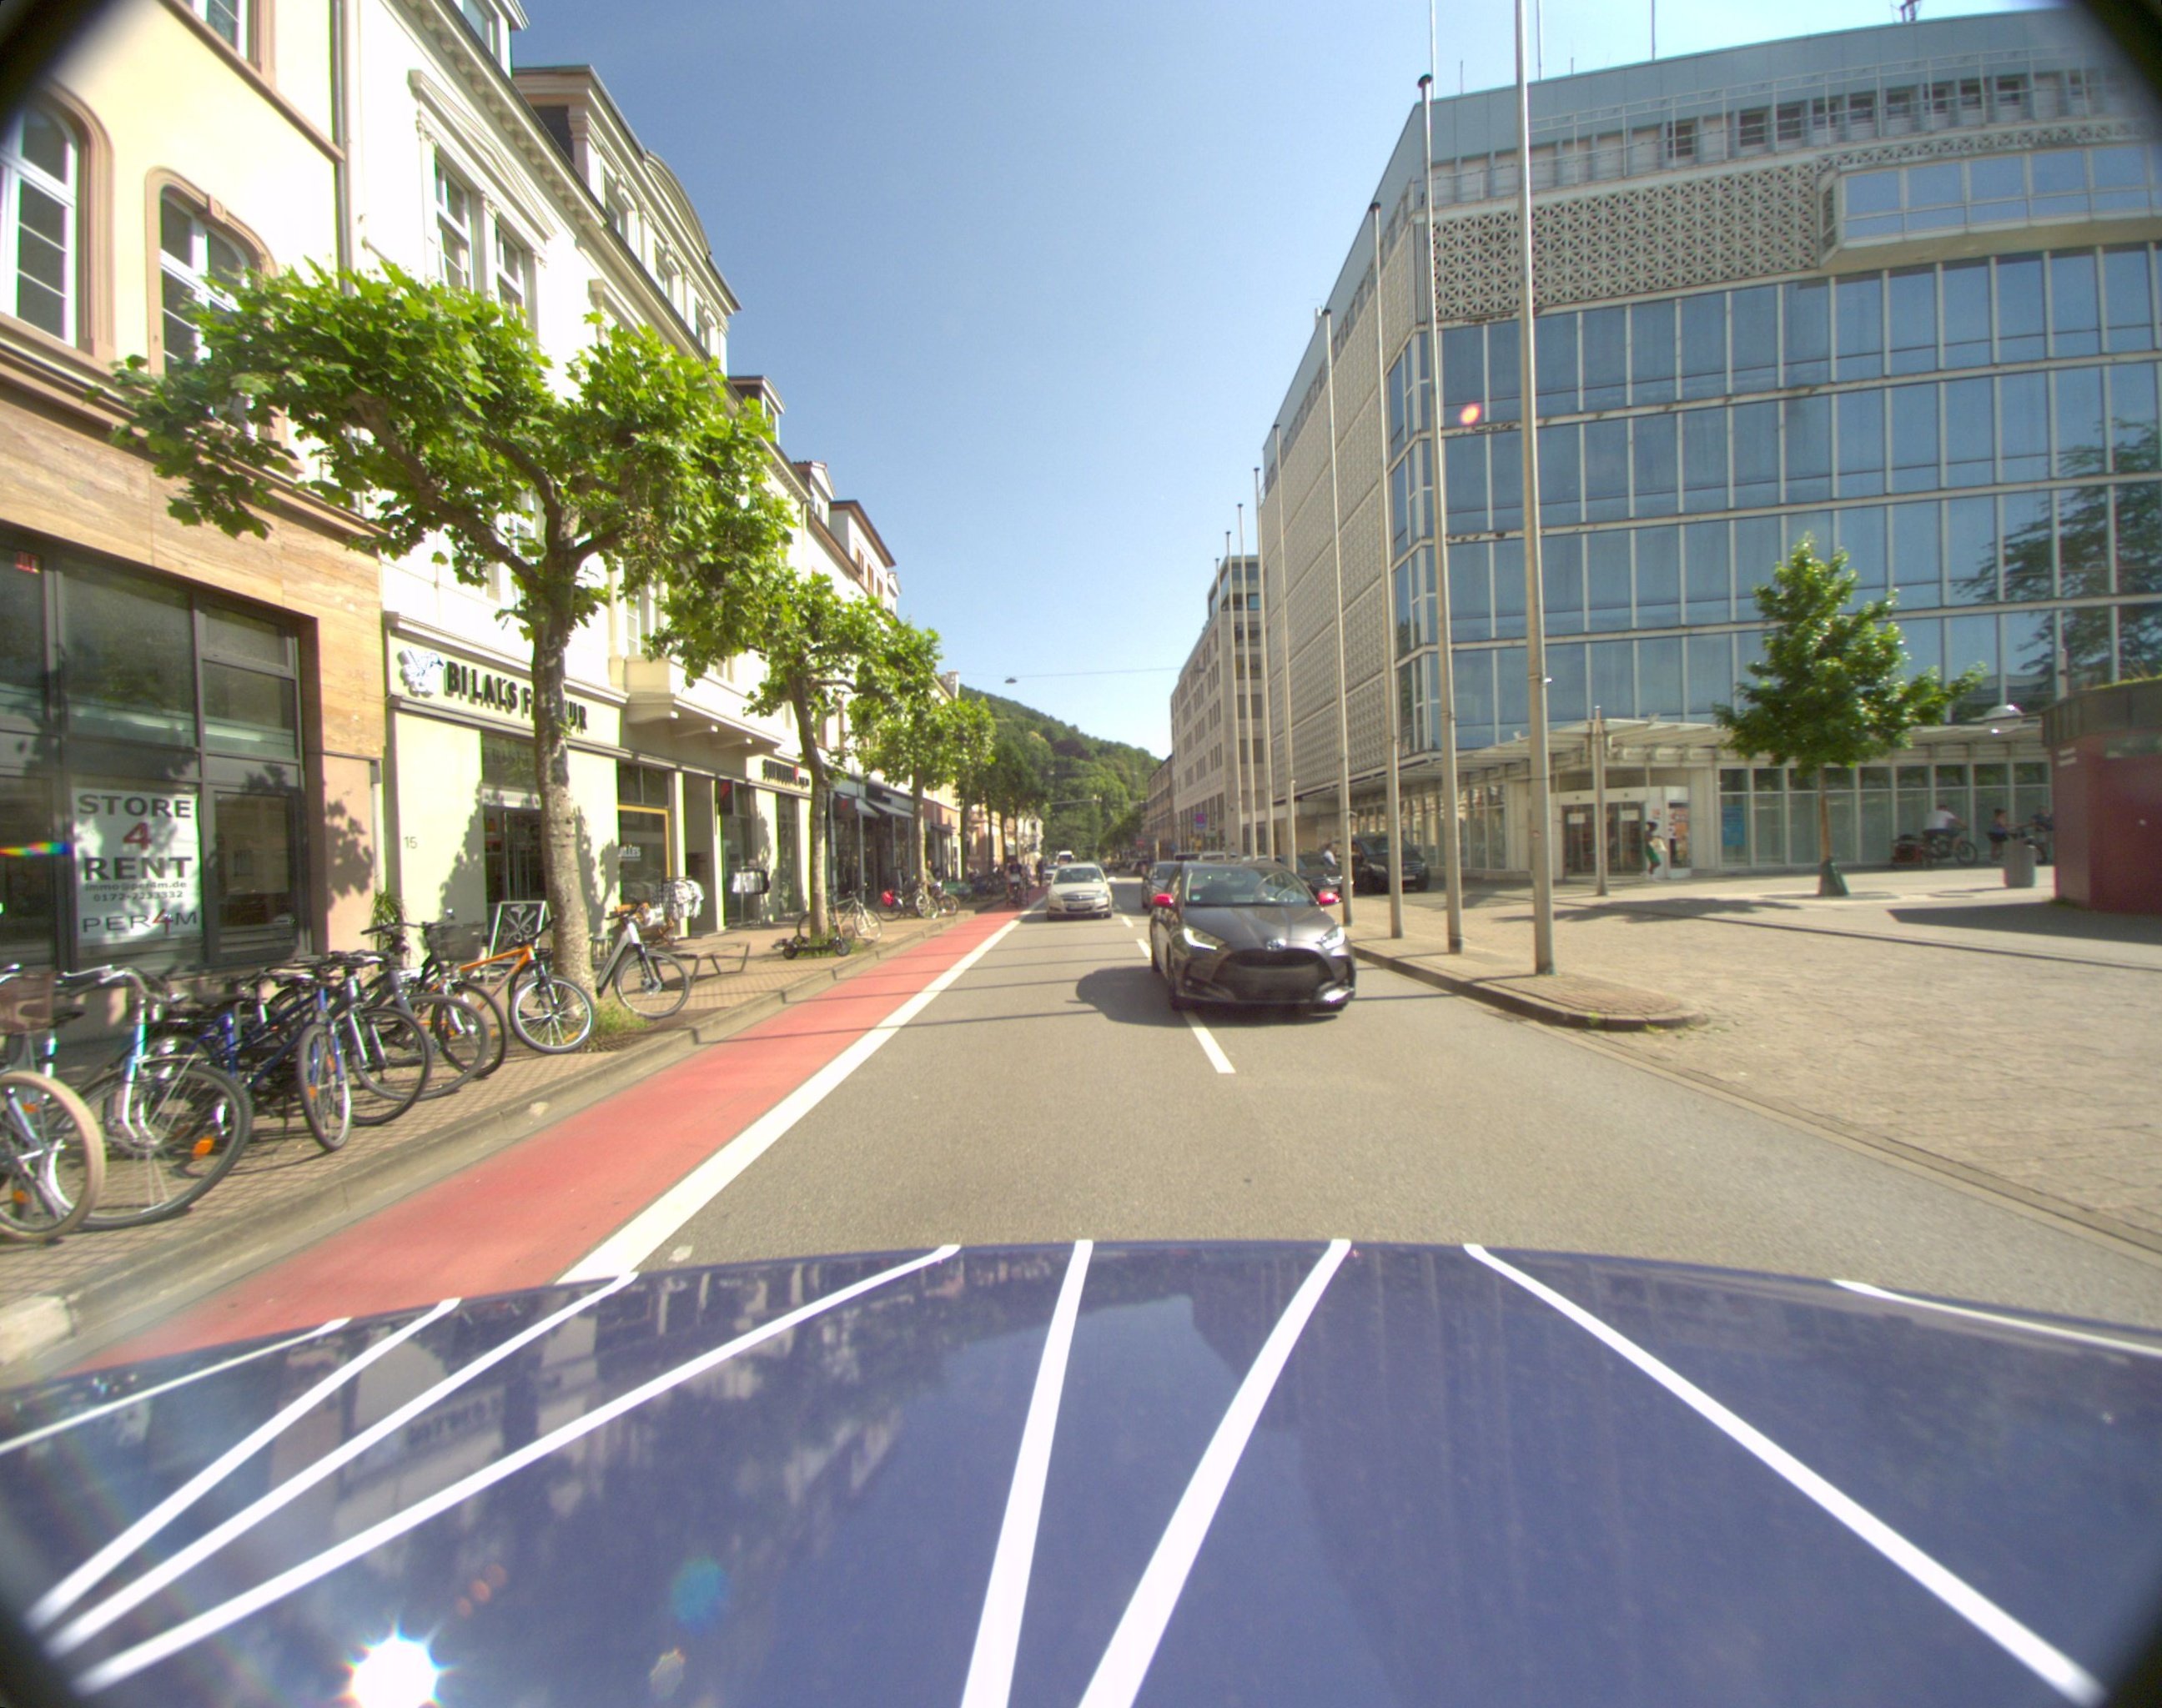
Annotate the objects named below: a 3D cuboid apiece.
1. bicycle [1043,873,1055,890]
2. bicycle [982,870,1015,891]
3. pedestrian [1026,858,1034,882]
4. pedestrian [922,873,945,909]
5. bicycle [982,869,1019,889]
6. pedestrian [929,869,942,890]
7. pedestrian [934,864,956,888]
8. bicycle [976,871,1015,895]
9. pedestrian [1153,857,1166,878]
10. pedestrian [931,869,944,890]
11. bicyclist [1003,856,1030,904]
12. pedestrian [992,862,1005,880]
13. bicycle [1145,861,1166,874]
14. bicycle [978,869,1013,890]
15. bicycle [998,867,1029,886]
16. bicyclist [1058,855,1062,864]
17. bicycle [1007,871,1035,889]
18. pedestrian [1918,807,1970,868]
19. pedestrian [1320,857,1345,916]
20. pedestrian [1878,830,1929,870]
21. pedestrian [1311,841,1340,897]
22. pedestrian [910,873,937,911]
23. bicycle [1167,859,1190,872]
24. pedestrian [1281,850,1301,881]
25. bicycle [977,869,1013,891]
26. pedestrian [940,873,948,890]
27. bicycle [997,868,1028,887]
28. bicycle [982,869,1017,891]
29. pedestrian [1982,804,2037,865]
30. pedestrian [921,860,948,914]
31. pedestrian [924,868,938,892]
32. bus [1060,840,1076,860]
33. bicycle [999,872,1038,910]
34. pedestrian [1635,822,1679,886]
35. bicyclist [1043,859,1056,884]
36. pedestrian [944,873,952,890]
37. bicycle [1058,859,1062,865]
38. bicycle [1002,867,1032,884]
[{"bbox_3d":[-2.194,1.903,52.826,0.664,1.111,1.992,-1,-2,2],"label":"bicycle"},{"bbox_3d":[-4.428,1.419,40.736,1.841,1.120,0.449,-1,2,28],"label":"bicycle"},{"bbox_3d":[-3.941,1.246,58.941,0.453,1.784,0.608,-3,0,-2],"label":"pedestrian"},{"bbox_3d":[-5.248,1.323,27.063,0.641,1.226,0.597,-3,1,-2],"label":"pedestrian"},{"bbox_3d":[-4.650,1.439,43.956,1.989,1.120,0.762,-1,1,13],"label":"bicycle"},{"bbox_3d":[-8.550,1.488,44.748,0.683,1.245,0.532,-1,0,-2],"label":"pedestrian"},{"bbox_3d":[-8.649,1.398,48.389,1.255,1.475,0.837,-2,1,-2],"label":"pedestrian"},{"bbox_3d":[-4.308,1.439,38.350,1.844,1.087,0.564,-3,1,1],"label":"bicycle"},{"bbox_3d":[5.722,0.984,55.337,0.641,1.550,0.680,-3,0,-11],"label":"pedestrian"},{"bbox_3d":[-8.557,1.510,45.347,0.641,1.246,0.608,0,1,-2],"label":"pedestrian"},{"bbox_3d":[-2.271,0.919,26.893,0.732,1.663,0.775,-1,1,11],"label":"bicyclist"},{"bbox_3d":[-7.759,1.575,71.361,0.904,1.603,0.974,-2,3,-28],"label":"pedestrian"},{"bbox_3d":[7.106,1.249,72.502,0.606,1.166,2.059,-4,1,-45],"label":"bicycle"},{"bbox_3d":[-4.767,1.426,42.500,1.844,1.120,0.448,-2,1,3],"label":"bicycle"},{"bbox_3d":[-4.342,1.443,48.984,1.844,1.120,0.643,-2,1,2],"label":"bicycle"},{"bbox_3d":[-4.423,1.119,157.401,0.747,1.693,1.036,-1,1,1],"label":"bicyclist"},{"bbox_3d":[-4.194,1.810,53.443,1.855,0.396,1.014,-10,35,5],"label":"bicycle"},{"bbox_3d":[25.875,-0.493,22.796,0.778,1.755,0.652,-3,0,-2],"label":"pedestrian"},{"bbox_3d":[7.834,1.009,23.685,0.531,1.782,0.540,-2,0,40],"label":"pedestrian"},{"bbox_3d":[24.251,-0.115,22.405,0.778,1.140,0.652,-3,0,-2],"label":"pedestrian"},{"bbox_3d":[7.922,0.489,24.624,0.618,1.782,0.694,-2,0,40],"label":"pedestrian"},{"bbox_3d":[-5.460,1.317,26.354,0.789,1.236,0.576,-3,1,-2],"label":"pedestrian"},{"bbox_3d":[9.362,1.127,73.159,2.059,1.120,0.648,-2,0,27],"label":"bicycle"},{"bbox_3d":[11.739,0.637,42.475,0.789,1.651,0.641,-5,2,-2],"label":"pedestrian"},{"bbox_3d":[-4.752,1.425,42.040,1.844,1.120,0.448,-2,1,3],"label":"bicycle"},{"bbox_3d":[-8.022,1.626,44.557,0.342,0.962,0.437,-2,0,2],"label":"pedestrian"},{"bbox_3d":[-4.254,1.448,47.124,1.844,1.120,0.666,-2,1,2],"label":"bicycle"},{"bbox_3d":[-4.657,1.461,43.300,1.843,1.120,0.530,-4,1,13],"label":"bicycle"},{"bbox_3d":[27.621,-0.579,22.610,0.778,1.755,0.652,-3,0,-2],"label":"pedestrian"},{"bbox_3d":[-4.713,1.045,24.441,0.641,1.679,0.843,-3,-1,-2],"label":"pedestrian"},{"bbox_3d":[-8.613,1.468,43.607,0.683,1.325,0.532,-2,0,-2],"label":"pedestrian"},{"bbox_3d":[-2.465,-0.698,142.723,2.924,3.515,12.498,-1,0,-1],"label":"bus"},{"bbox_3d":[-2.189,1.279,26.926,0.733,1.261,2.284,-3,-1,11],"label":"bicycle"},{"bbox_3d":[15.733,0.007,20.770,0.684,1.705,0.723,-1,1,10],"label":"pedestrian"},{"bbox_3d":[-2.202,1.187,52.643,0.840,1.707,0.844,-1,1,1],"label":"bicyclist"},{"bbox_3d":[-7.913,1.638,45.222,0.365,0.962,0.437,-2,0,2],"label":"pedestrian"},{"bbox_3d":[-4.378,1.654,158.090,0.743,1.120,2.573,0,0,2],"label":"bicycle"},{"bbox_3d":[-4.270,1.432,50.643,1.844,1.120,0.666,-2,1,2],"label":"bicycle"}]
